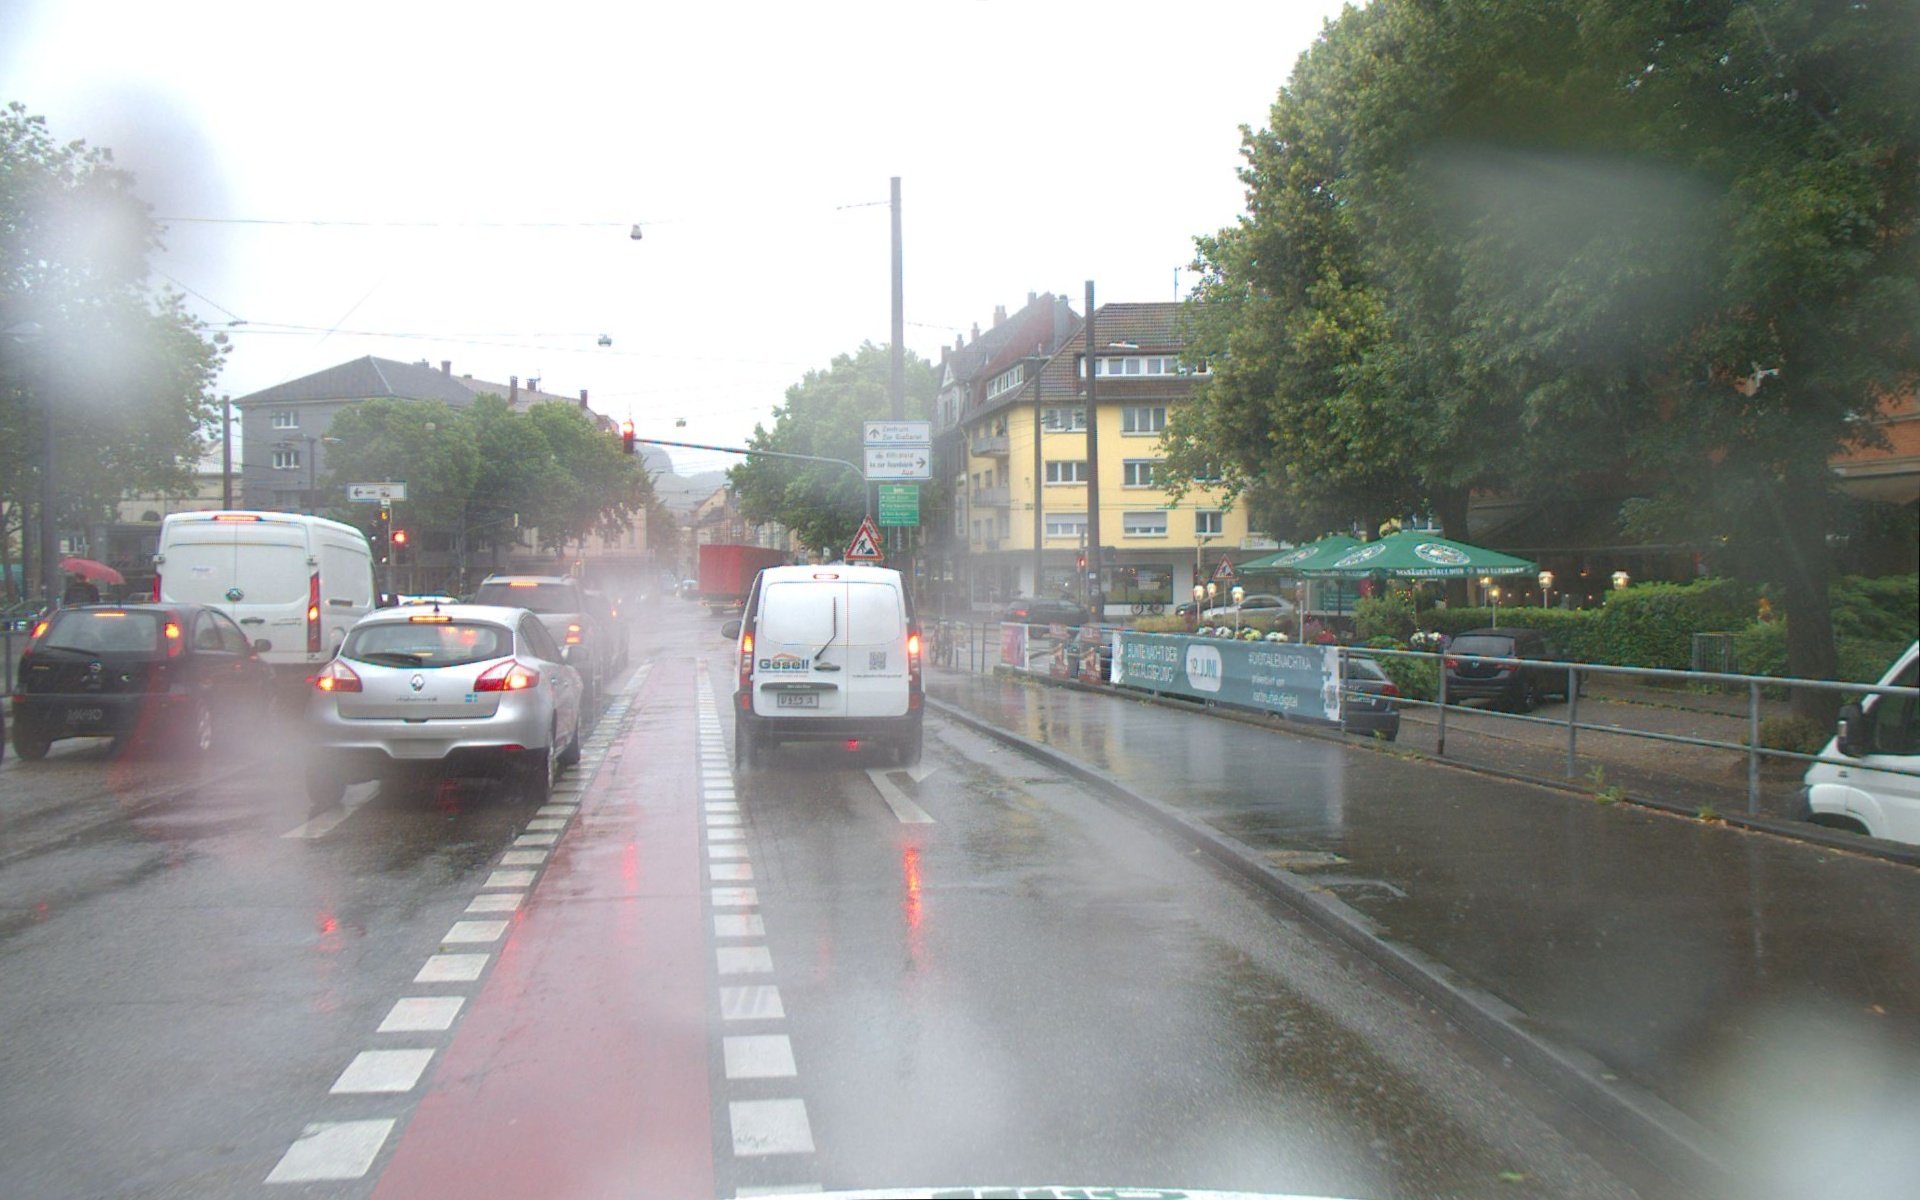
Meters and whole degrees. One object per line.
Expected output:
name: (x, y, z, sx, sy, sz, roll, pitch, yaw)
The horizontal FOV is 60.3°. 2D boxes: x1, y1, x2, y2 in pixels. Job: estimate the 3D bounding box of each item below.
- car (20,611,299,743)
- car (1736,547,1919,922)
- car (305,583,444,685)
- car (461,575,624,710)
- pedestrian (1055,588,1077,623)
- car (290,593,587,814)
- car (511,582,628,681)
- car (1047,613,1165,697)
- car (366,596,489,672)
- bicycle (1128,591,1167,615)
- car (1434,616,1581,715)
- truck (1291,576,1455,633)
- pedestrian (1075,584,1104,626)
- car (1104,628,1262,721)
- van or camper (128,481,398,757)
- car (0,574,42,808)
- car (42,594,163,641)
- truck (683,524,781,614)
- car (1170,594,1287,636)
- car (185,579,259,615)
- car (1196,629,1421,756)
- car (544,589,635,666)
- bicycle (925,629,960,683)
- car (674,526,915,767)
car: (-7.868, 0.700, 16.633, 1.436, 1.137, 4.078, 1, 0, -10)
car: (7.622, 0.916, 9.887, 2.169, 2.462, 6.142, 2, 0, -11)
car: (-10.212, 0.558, 29.103, 1.614, 1.657, 3.828, 0, 0, -9)
car: (-6.070, 0.577, 24.517, 1.988, 1.801, 4.452, 1, 0, -10)
pedestrian: (4.809, 0.246, 75.103, 0.612, 1.561, 0.811, 0, -1, 43)
car: (-4.024, 0.719, 13.371, 1.736, 1.503, 3.991, 1, 0, -10)
car: (-7.247, 0.558, 31.023, 1.800, 1.697, 4.164, 1, 0, -9)
car: (2.968, 1.102, 34.345, 1.673, 1.467, 3.520, 4, 1, -7)
car: (-11.289, 0.689, 35.309, 1.809, 1.510, 3.992, 1, 0, -8)
bicycle: (10.032, 0.167, 88.386, 2.057, 1.283, 0.532, 1, 1, 5)
car: (10.659, 1.205, 32.019, 1.956, 1.743, 3.993, 1, 0, 29)
truck: (15.534, 0.179, 62.377, 5.633, 2.049, 2.110, 1, 0, -5)
pedestrian: (5.276, 0.193, 67.324, 0.885, 1.698, 1.020, 1, 0, 20)
car: (3.812, 1.253, 28.933, 1.671, 1.424, 3.964, 1, 0, -9)
van or camper: (-9.133, 0.210, 22.254, 2.119, 3.196, 5.836, 0, 0, -11)
car: (-7.448, 0.649, 10.040, 1.879, 1.652, 4.444, -1, 0, -10)
car: (-25.784, 0.516, 49.848, 1.561, 1.337, 3.525, 1, 0, 5)
truck: (-14.127, -1.792, 104.196, 3.397, 5.177, 15.310, 1, 0, 2)
car: (11.632, 0.665, 71.957, 4.834, 1.672, 2.000, 1, -3, 3)
car: (-49.625, -0.218, 111.330, 1.951, 2.236, 4.792, 2, 2, 14)
car: (4.853, 1.251, 23.600, 1.701, 1.566, 4.064, 1, 0, -11)
car: (-8.211, 0.587, 36.908, 1.695, 1.606, 3.812, 1, 0, -9)
bicycle: (-0.419, 1.269, 37.913, 0.504, 1.126, 2.013, 4, 0, -7)
car: (-1.797, 0.415, 16.705, 2.062, 2.047, 4.952, 0, 0, -9)
